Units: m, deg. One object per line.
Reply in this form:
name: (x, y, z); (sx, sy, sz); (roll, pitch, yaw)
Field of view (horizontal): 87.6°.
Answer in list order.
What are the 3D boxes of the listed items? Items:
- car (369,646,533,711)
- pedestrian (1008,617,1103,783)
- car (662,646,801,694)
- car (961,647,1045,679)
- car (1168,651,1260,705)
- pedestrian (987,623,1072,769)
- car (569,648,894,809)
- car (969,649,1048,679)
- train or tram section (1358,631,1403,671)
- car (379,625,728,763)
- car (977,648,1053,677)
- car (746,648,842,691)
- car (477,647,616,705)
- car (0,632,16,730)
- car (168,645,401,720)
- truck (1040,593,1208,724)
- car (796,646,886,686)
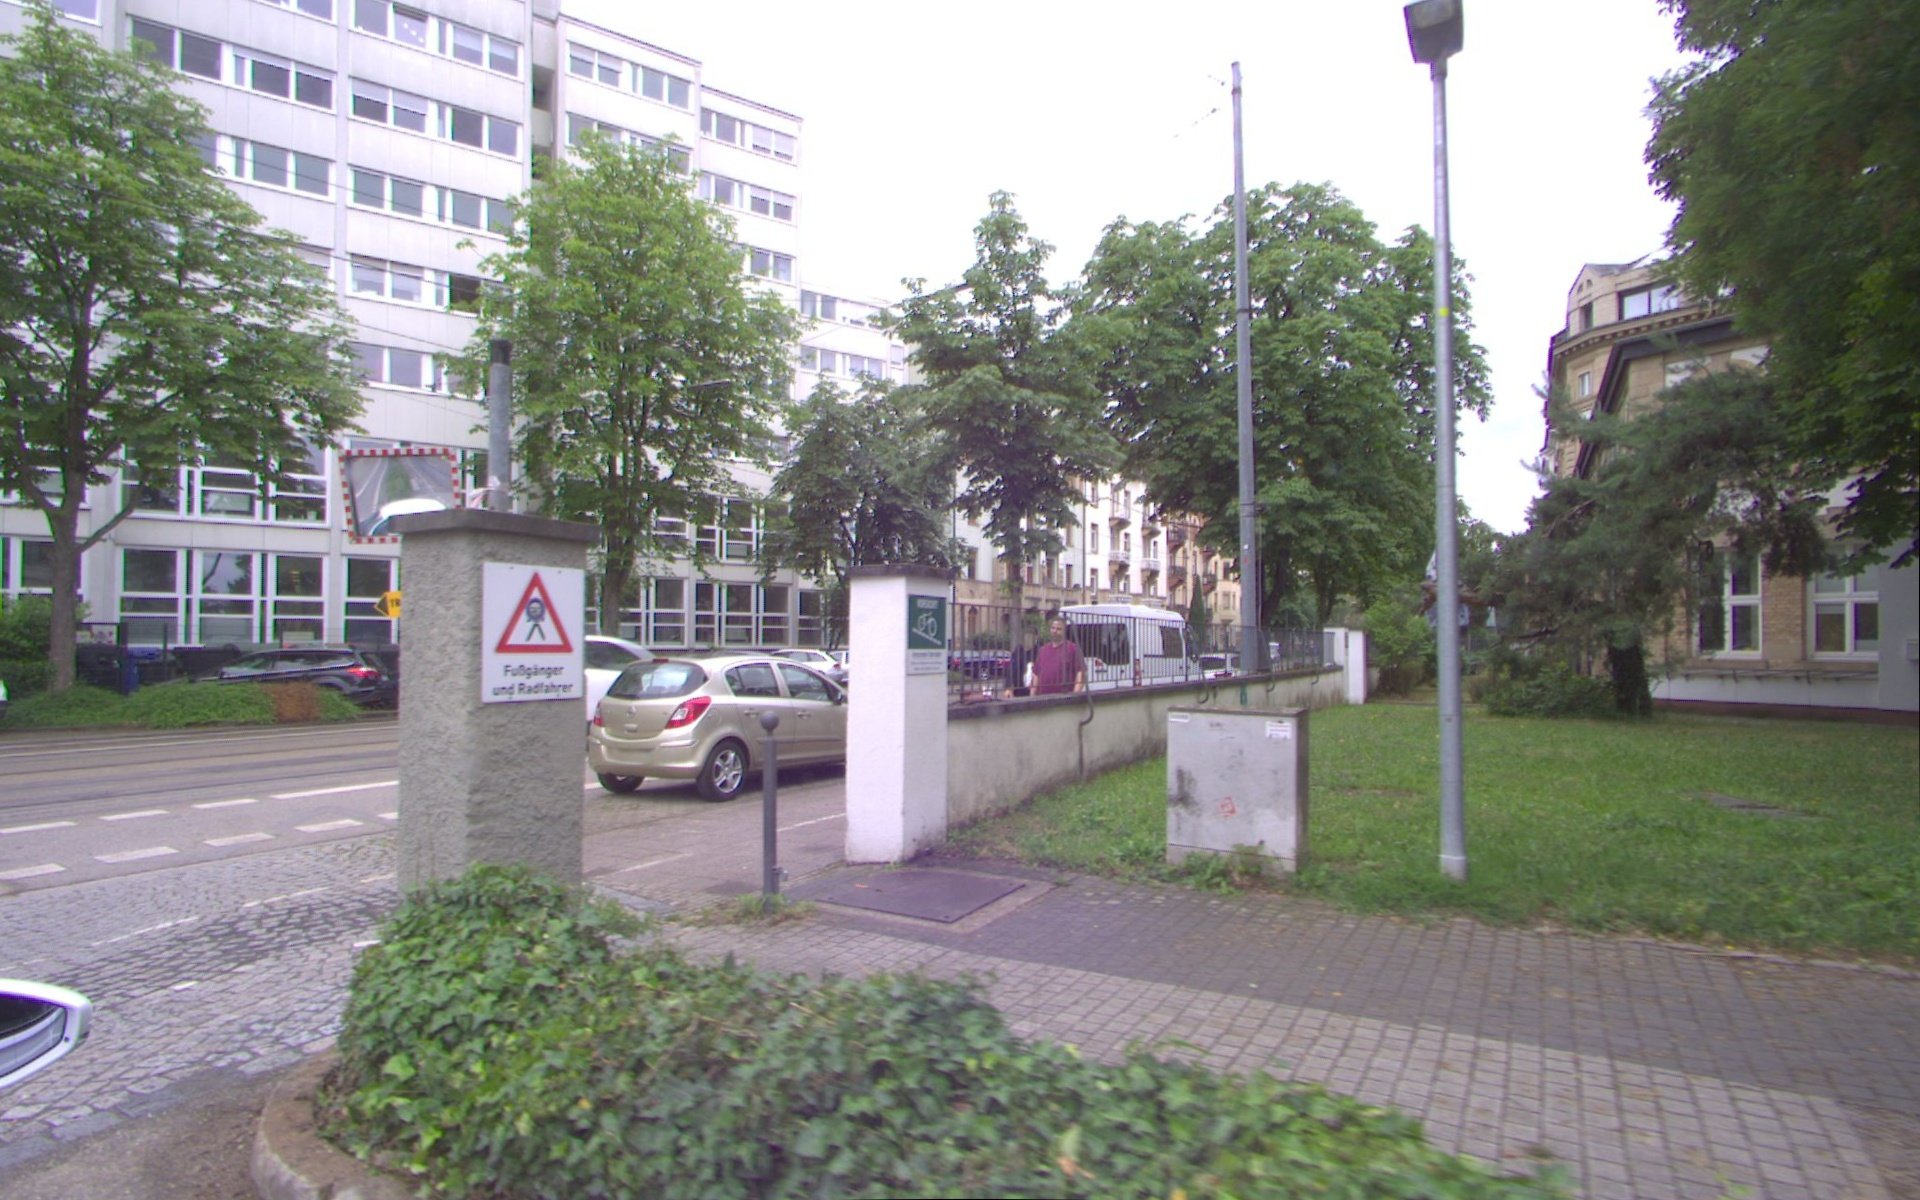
car: (-12.393, 1.889, 24.566); (3.328, 1.492, 1.416); (0, -2, -14)
pedestrian: (1.078, 1.080, 11.156); (0.795, 1.740, 0.953); (0, -2, 24)
car: (-7.595, 2.326, 33.254); (4.419, 1.491, 1.416); (0, -4, -18)
car: (2.028, 2.988, 47.553); (3.723, 1.460, 1.693); (0, -2, -9)
car: (7.295, 2.158, 28.517); (1.784, 1.371, 3.799); (-1, -2, 27)
pedestrian: (0.888, 1.180, 12.603); (0.789, 1.740, 0.953); (-1, -2, 23)
car: (-2.438, 1.315, 11.492); (1.641, 1.519, 3.579); (-1, -3, 30)
car: (2.434, 3.195, 50.435); (3.723, 1.460, 1.693); (0, -2, -9)
train or tram section: (41.595, 4.932, 98.731); (2.628, 3.660, 12.406); (-1, -2, 30)
car: (-5.834, 1.285, 14.993); (1.971, 1.724, 4.581); (-1, -3, 31)
car: (2.855, 3.277, 52.725); (3.723, 1.460, 1.693); (0, -2, -9)
car: (-6.000, 2.473, 36.157); (3.328, 1.492, 1.416); (1, -2, -14)
car: (-11.297, 2.049, 27.539); (3.328, 1.492, 1.416); (0, -2, -14)
car: (-17.641, 1.335, 16.020); (3.344, 1.638, 1.556); (0, -2, -12)
car: (-14.617, 1.746, 21.897); (3.885, 1.492, 1.671); (0, -2, -18)
truck: (3.802, 1.258, 22.396); (2.137, 2.578, 4.908); (-1, -2, 30)
car: (-4.648, 2.524, 38.871); (3.328, 1.492, 1.416); (0, -2, -14)
